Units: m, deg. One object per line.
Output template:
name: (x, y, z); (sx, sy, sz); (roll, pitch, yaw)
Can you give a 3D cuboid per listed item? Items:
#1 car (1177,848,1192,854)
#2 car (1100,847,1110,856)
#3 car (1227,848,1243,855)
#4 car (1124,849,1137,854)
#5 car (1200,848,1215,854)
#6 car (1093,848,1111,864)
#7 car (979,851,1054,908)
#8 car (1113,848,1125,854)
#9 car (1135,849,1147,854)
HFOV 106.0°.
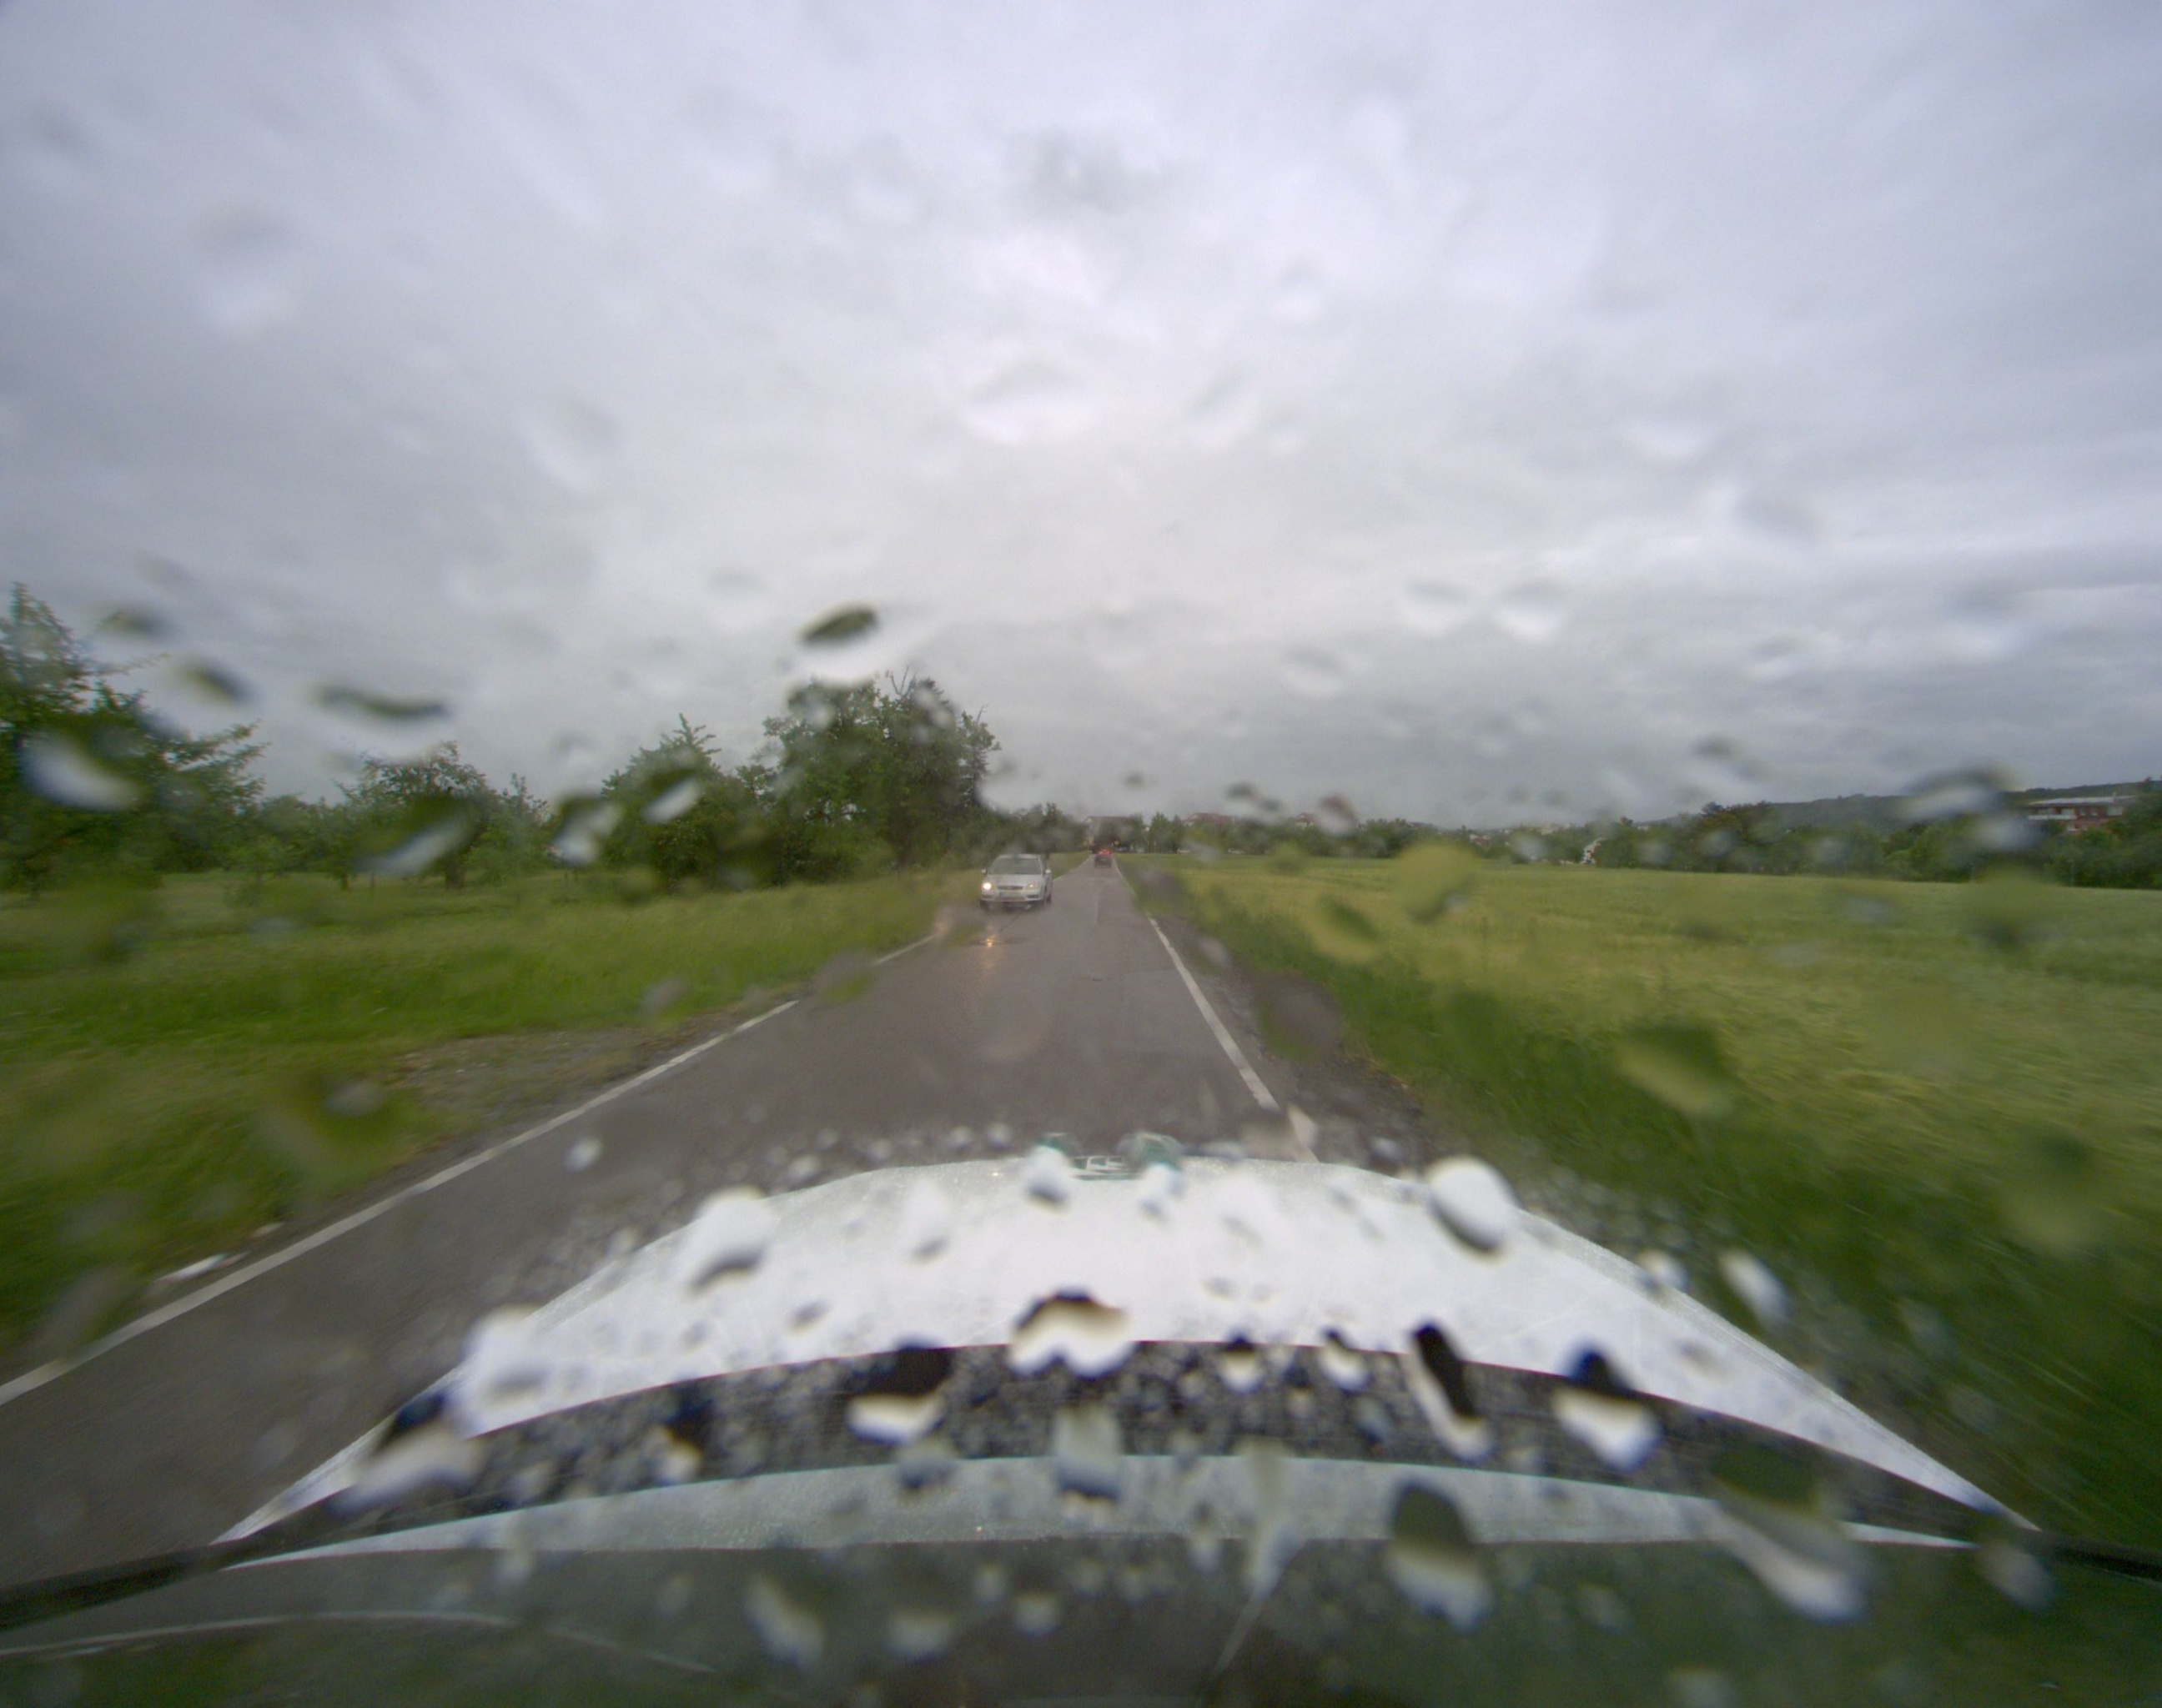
car: (24.298, -0.747, 191.160); (3.365, 1.371, 1.554); (0, -1, 15)
car: (4.433, -0.465, 149.300); (1.807, 1.594, 4.003); (0, -1, 3)
car: (35.551, -0.647, 188.101); (3.682, 1.564, 1.617); (0, -1, 15)
car: (13.771, -0.700, 225.328); (1.645, 1.546, 4.025); (-1, -1, 37)
car: (29.435, -0.785, 189.804); (3.169, 1.371, 1.578); (0, -1, 15)
car: (2.183, 0.208, 84.388); (1.807, 1.594, 4.003); (0, -1, 3)
car: (-1.733, 0.693, 23.232); (1.733, 1.471, 4.123); (0, -1, 1)
car: (10.232, -0.800, 219.400); (1.645, 1.546, 4.023); (0, -1, 26)
car: (16.952, -0.697, 229.516); (1.645, 1.546, 4.025); (-1, -1, 37)
